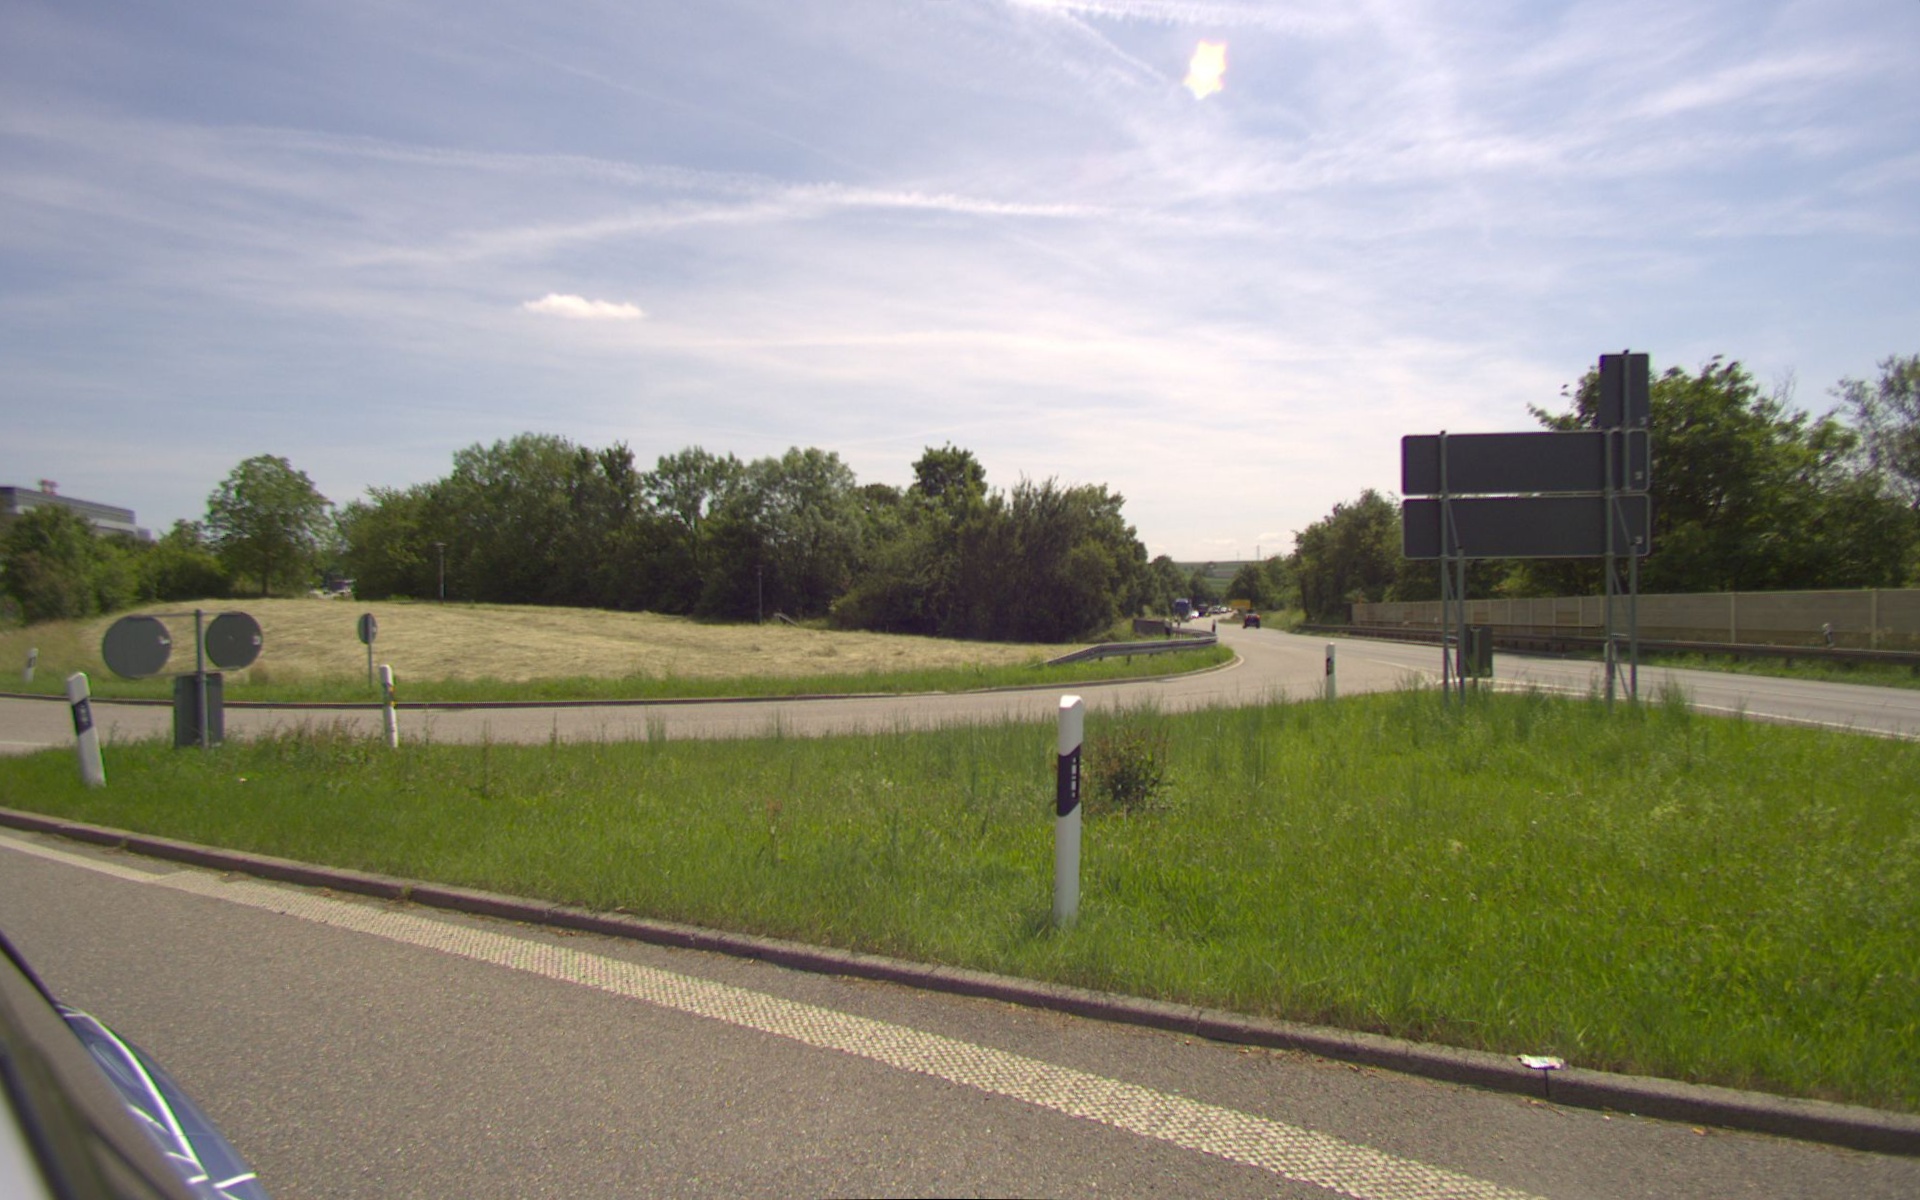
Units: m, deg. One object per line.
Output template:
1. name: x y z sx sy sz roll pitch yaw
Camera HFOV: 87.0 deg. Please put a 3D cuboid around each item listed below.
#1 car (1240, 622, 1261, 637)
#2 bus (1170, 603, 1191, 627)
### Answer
1. car: 32.192 3.219 112.130 1.735 1.550 4.095 -2 -1 9
2. bus: 38.964 2.567 178.663 3.322 4.100 10.462 0 -1 15
